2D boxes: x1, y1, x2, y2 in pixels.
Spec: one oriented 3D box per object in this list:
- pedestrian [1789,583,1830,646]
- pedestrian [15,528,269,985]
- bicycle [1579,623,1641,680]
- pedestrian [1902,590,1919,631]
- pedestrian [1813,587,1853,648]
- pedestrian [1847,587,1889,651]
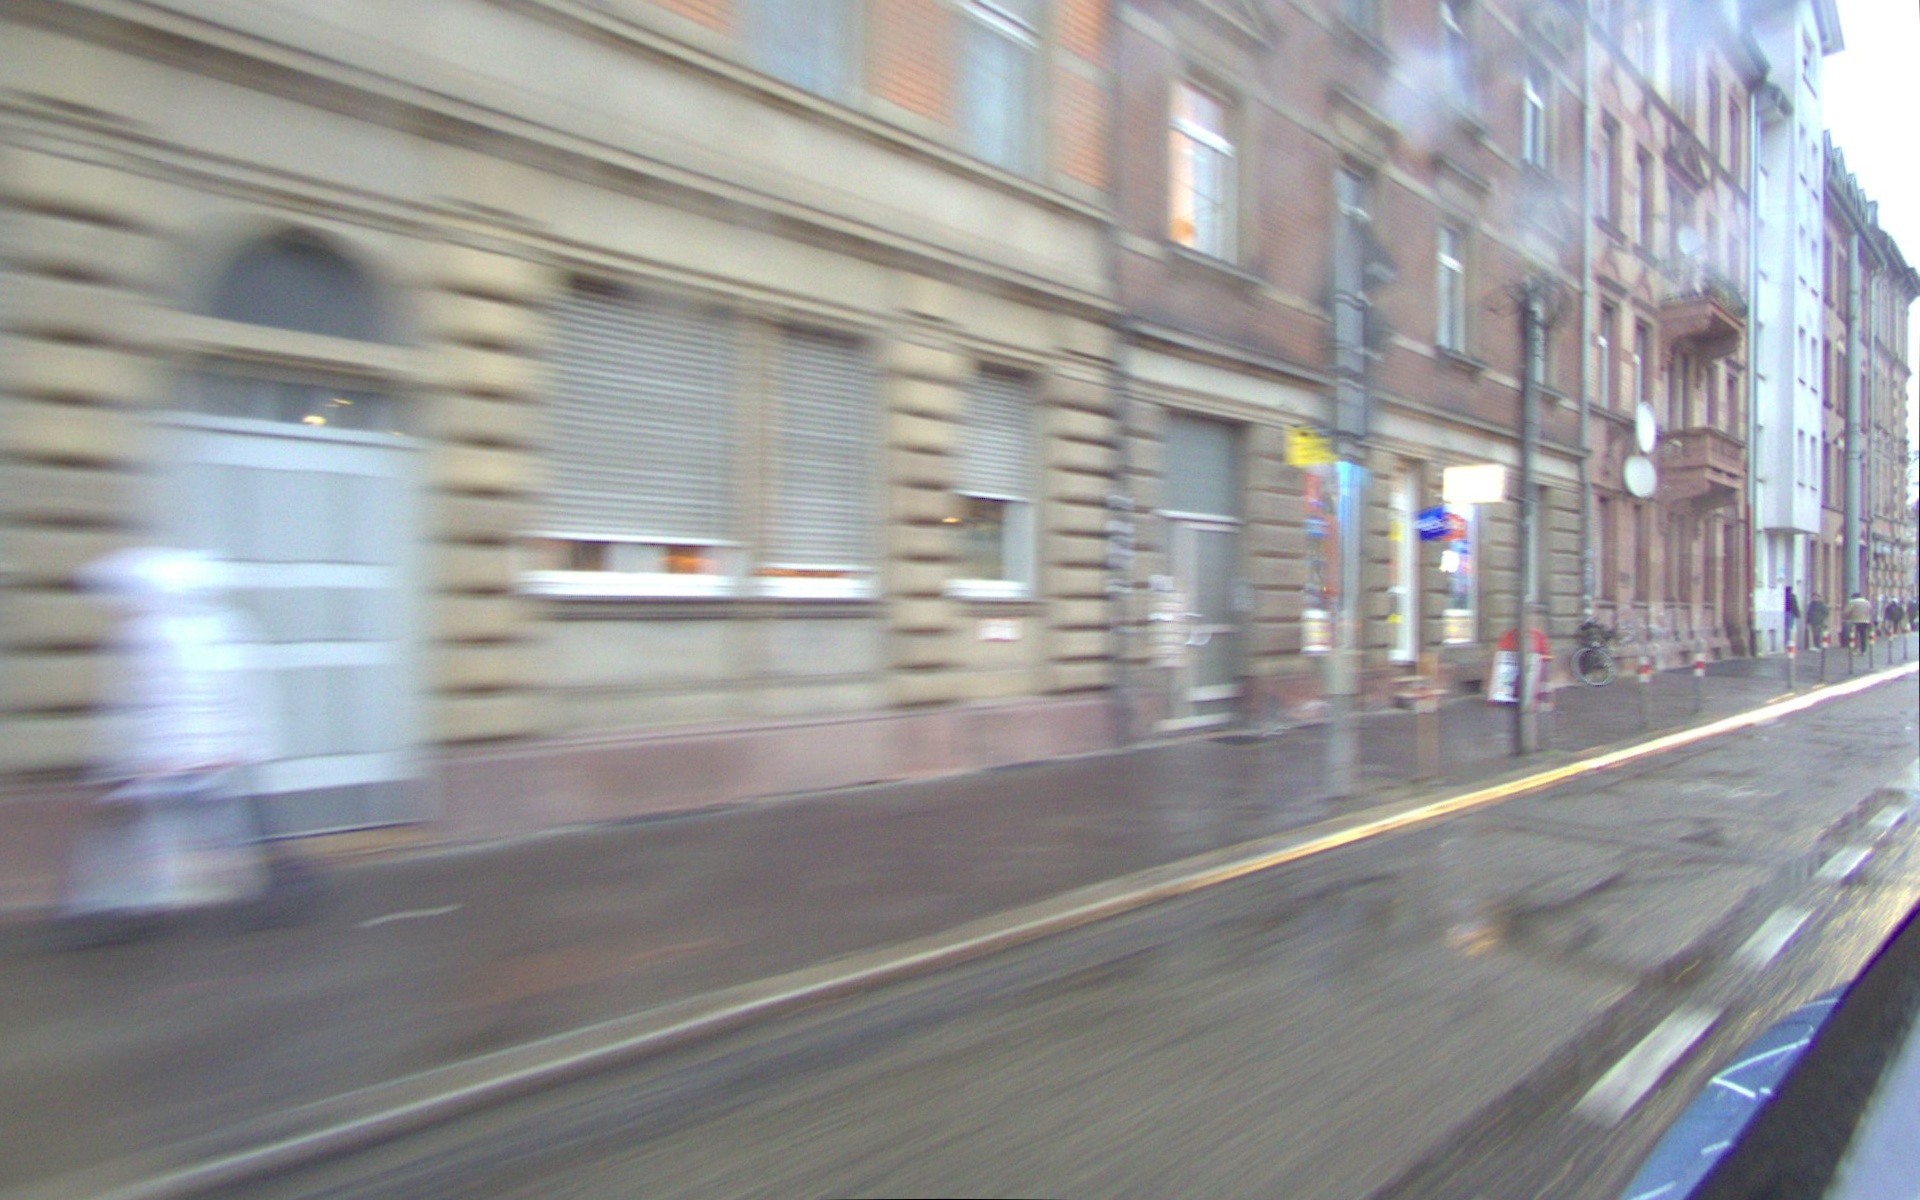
[{"bbox_3d":[24.304,0.395,28.961,0.661,1.766,0.777,0,1,-40],"label":"pedestrian"},{"bbox_3d":[-3.296,0.547,4.114,0.728,1.617,0.788,1,0,-39],"label":"pedestrian"},{"bbox_3d":[11.326,0.874,17.604,1.834,0.922,0.398,0,1,-41],"label":"bicycle"},{"bbox_3d":[37.569,0.407,39.863,0.698,1.568,0.633,0,0,-42],"label":"pedestrian"},{"bbox_3d":[25.901,0.507,30.028,0.661,1.766,0.777,0,1,-40],"label":"pedestrian"},{"bbox_3d":[25.761,0.516,28.699,0.661,1.766,0.777,0,1,-40],"label":"pedestrian"}]
